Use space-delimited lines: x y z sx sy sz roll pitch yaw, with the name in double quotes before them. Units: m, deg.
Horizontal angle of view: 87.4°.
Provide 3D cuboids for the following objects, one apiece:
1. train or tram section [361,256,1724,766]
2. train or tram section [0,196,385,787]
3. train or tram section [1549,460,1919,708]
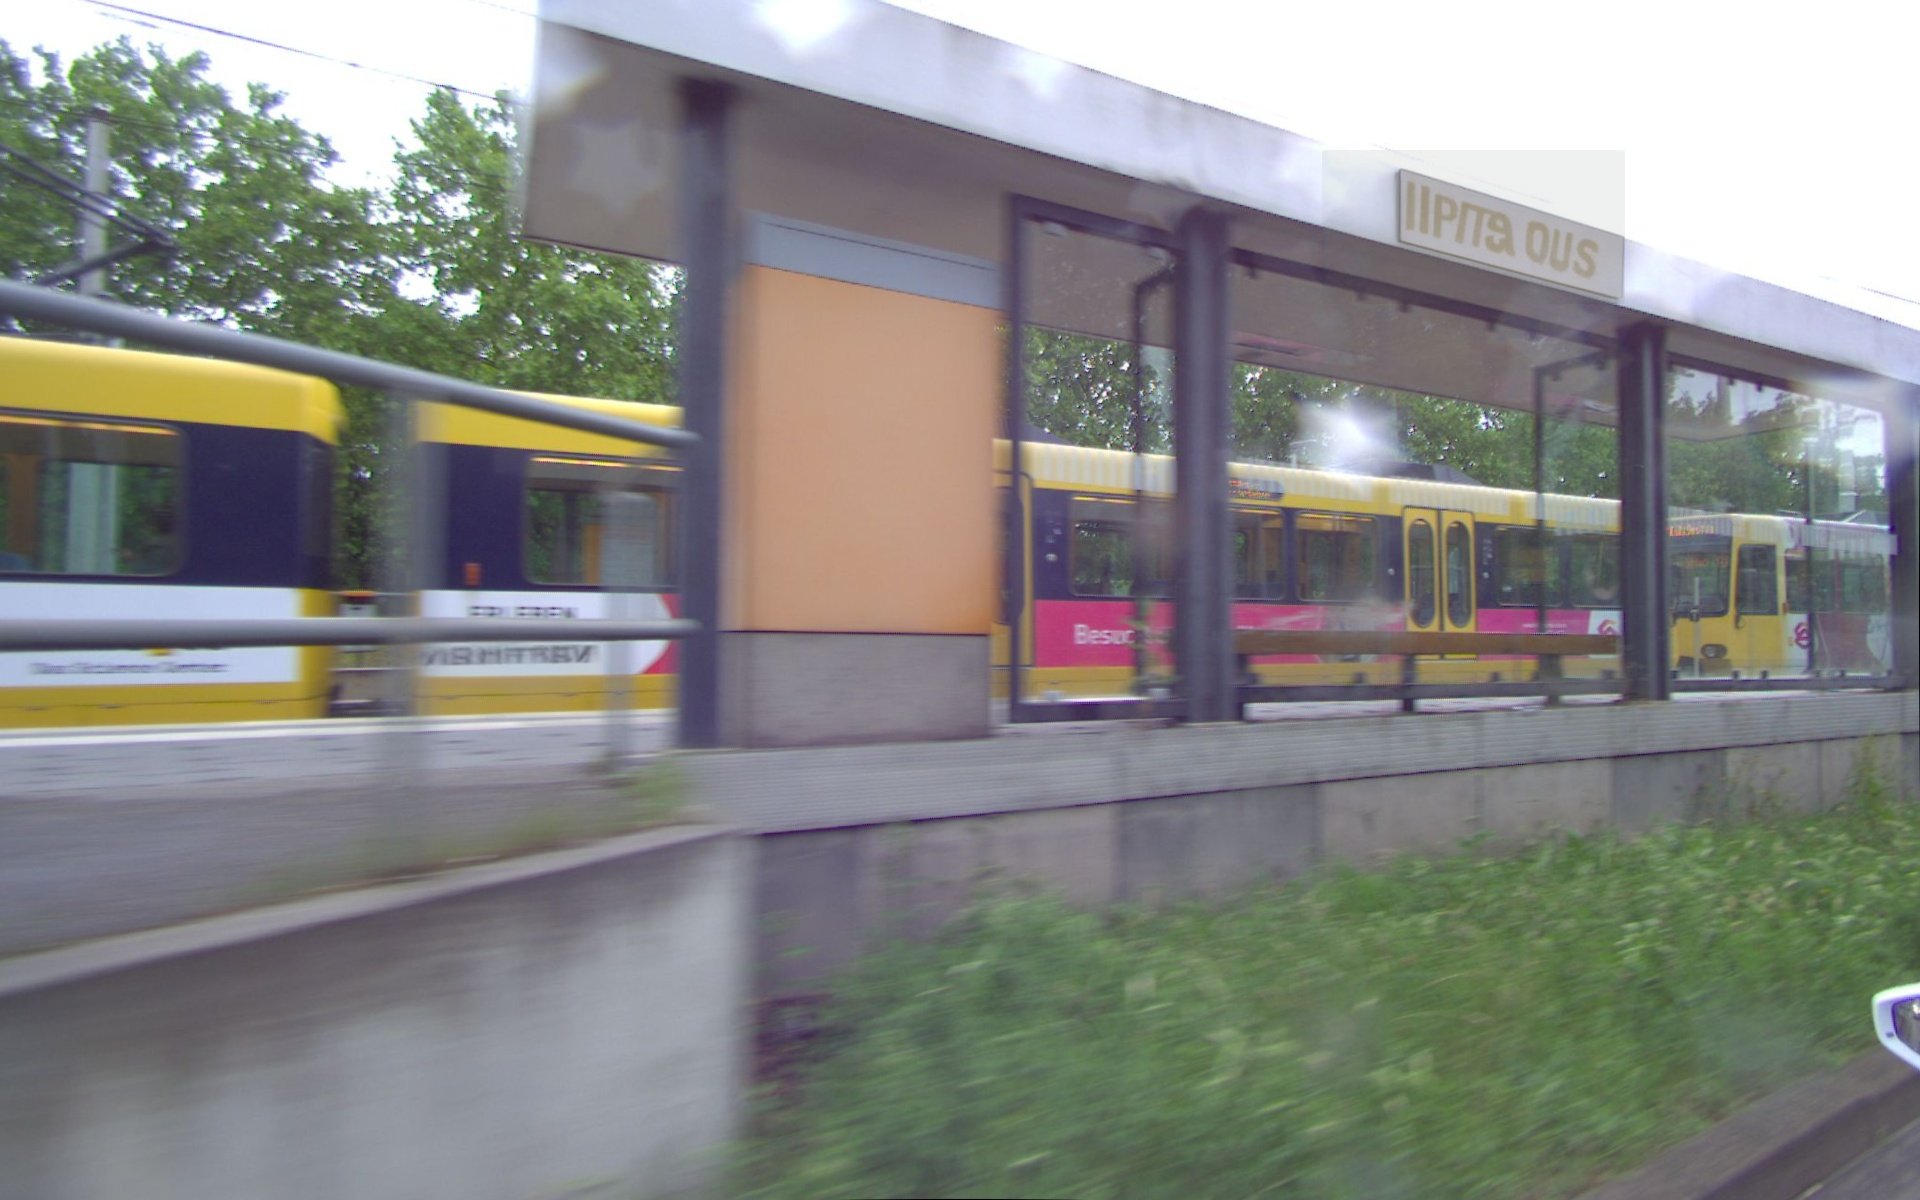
"train or tram section" 3.271 -0.471 13.422 19.077 4.006 2.858 2 0 -26
"train or tram section" -13.716 -0.924 4.558 19.091 4.026 2.856 2 0 -29
"train or tram section" 20.431 -0.024 21.418 19.057 4.023 2.861 2 0 -23
